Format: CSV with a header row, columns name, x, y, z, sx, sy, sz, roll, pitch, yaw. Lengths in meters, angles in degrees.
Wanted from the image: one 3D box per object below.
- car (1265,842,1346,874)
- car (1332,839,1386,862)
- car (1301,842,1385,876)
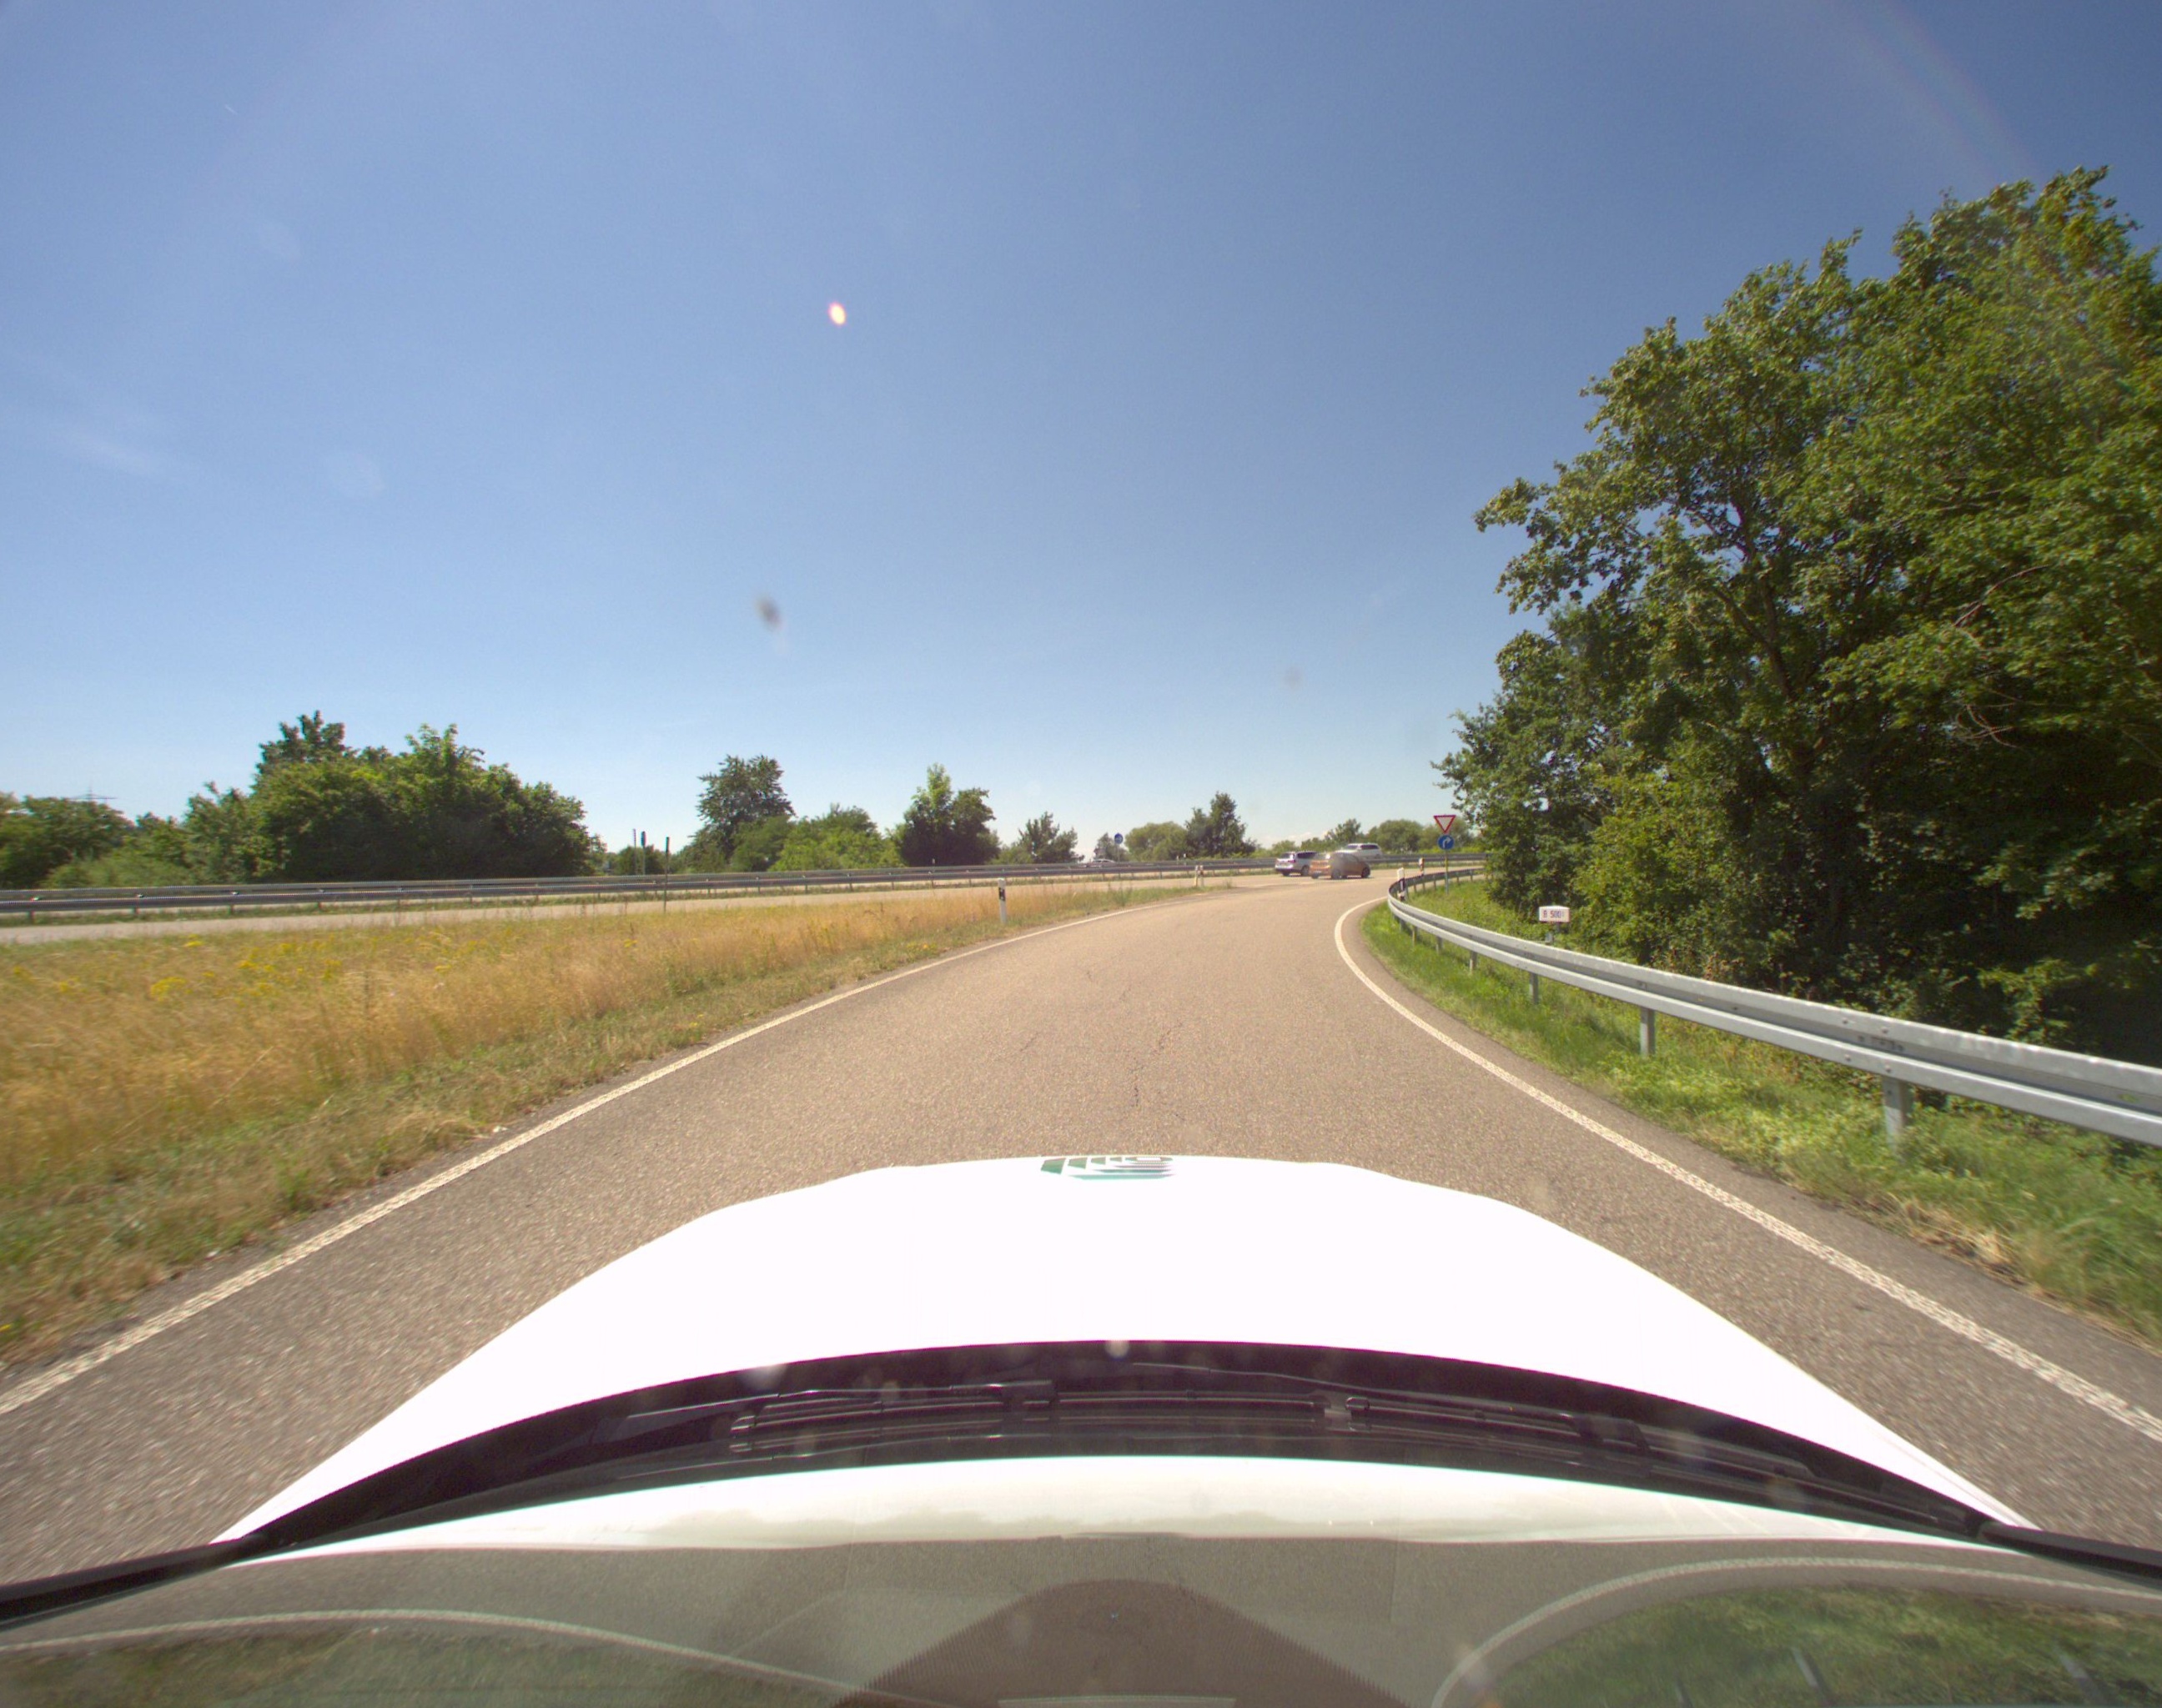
name,x,y,z,sx,sy,sz,roll,pitch,yaw
car,13.642,0.220,49.394,4.803,1.789,1.979,-1,0,-33
car,22.405,-0.270,65.591,4.425,1.789,1.978,-1,0,-36
car,14.572,0.311,45.228,4.545,1.790,1.979,1,-3,-33
